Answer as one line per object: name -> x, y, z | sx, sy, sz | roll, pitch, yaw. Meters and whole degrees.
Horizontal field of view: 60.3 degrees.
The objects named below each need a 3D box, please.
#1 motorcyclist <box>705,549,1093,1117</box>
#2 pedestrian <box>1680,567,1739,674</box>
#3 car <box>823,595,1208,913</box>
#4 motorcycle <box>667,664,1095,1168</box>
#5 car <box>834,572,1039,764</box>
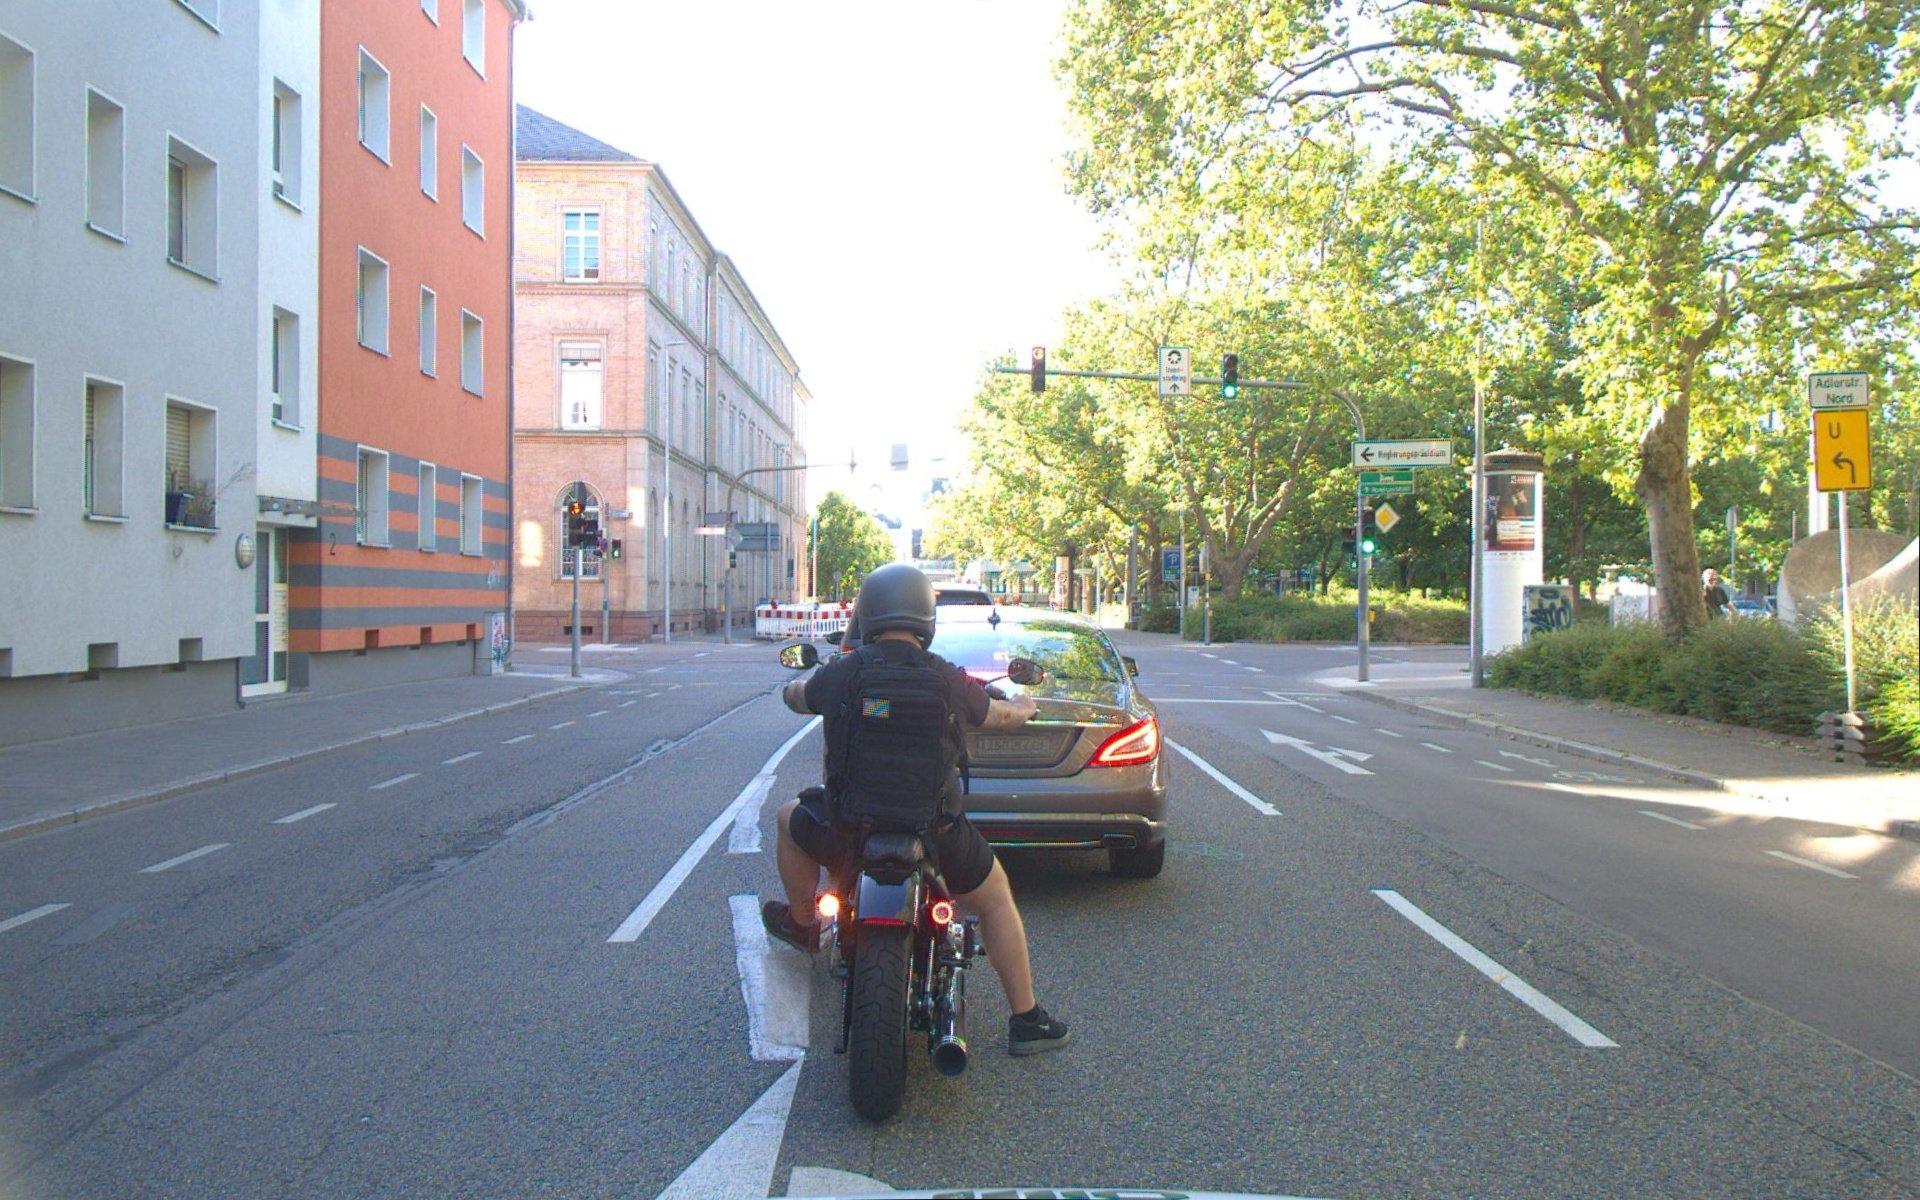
motorcyclist -> -0.137, 0.661, 5.270 | 1.076, 1.593, 1.072 | 1, 0, 5
pedestrian -> 12.915, 0.355, 28.509 | 0.720, 1.809, 0.730 | 1, -1, 7
car -> 0.238, 0.732, 9.662 | 1.785, 1.462, 3.805 | 1, 0, -1
motorcycle -> -0.124, 0.872, 5.490 | 1.094, 1.228, 2.213 | 1, 0, 5
car -> -0.236, 0.624, 16.935 | 1.825, 1.707, 3.999 | 1, 0, -1
